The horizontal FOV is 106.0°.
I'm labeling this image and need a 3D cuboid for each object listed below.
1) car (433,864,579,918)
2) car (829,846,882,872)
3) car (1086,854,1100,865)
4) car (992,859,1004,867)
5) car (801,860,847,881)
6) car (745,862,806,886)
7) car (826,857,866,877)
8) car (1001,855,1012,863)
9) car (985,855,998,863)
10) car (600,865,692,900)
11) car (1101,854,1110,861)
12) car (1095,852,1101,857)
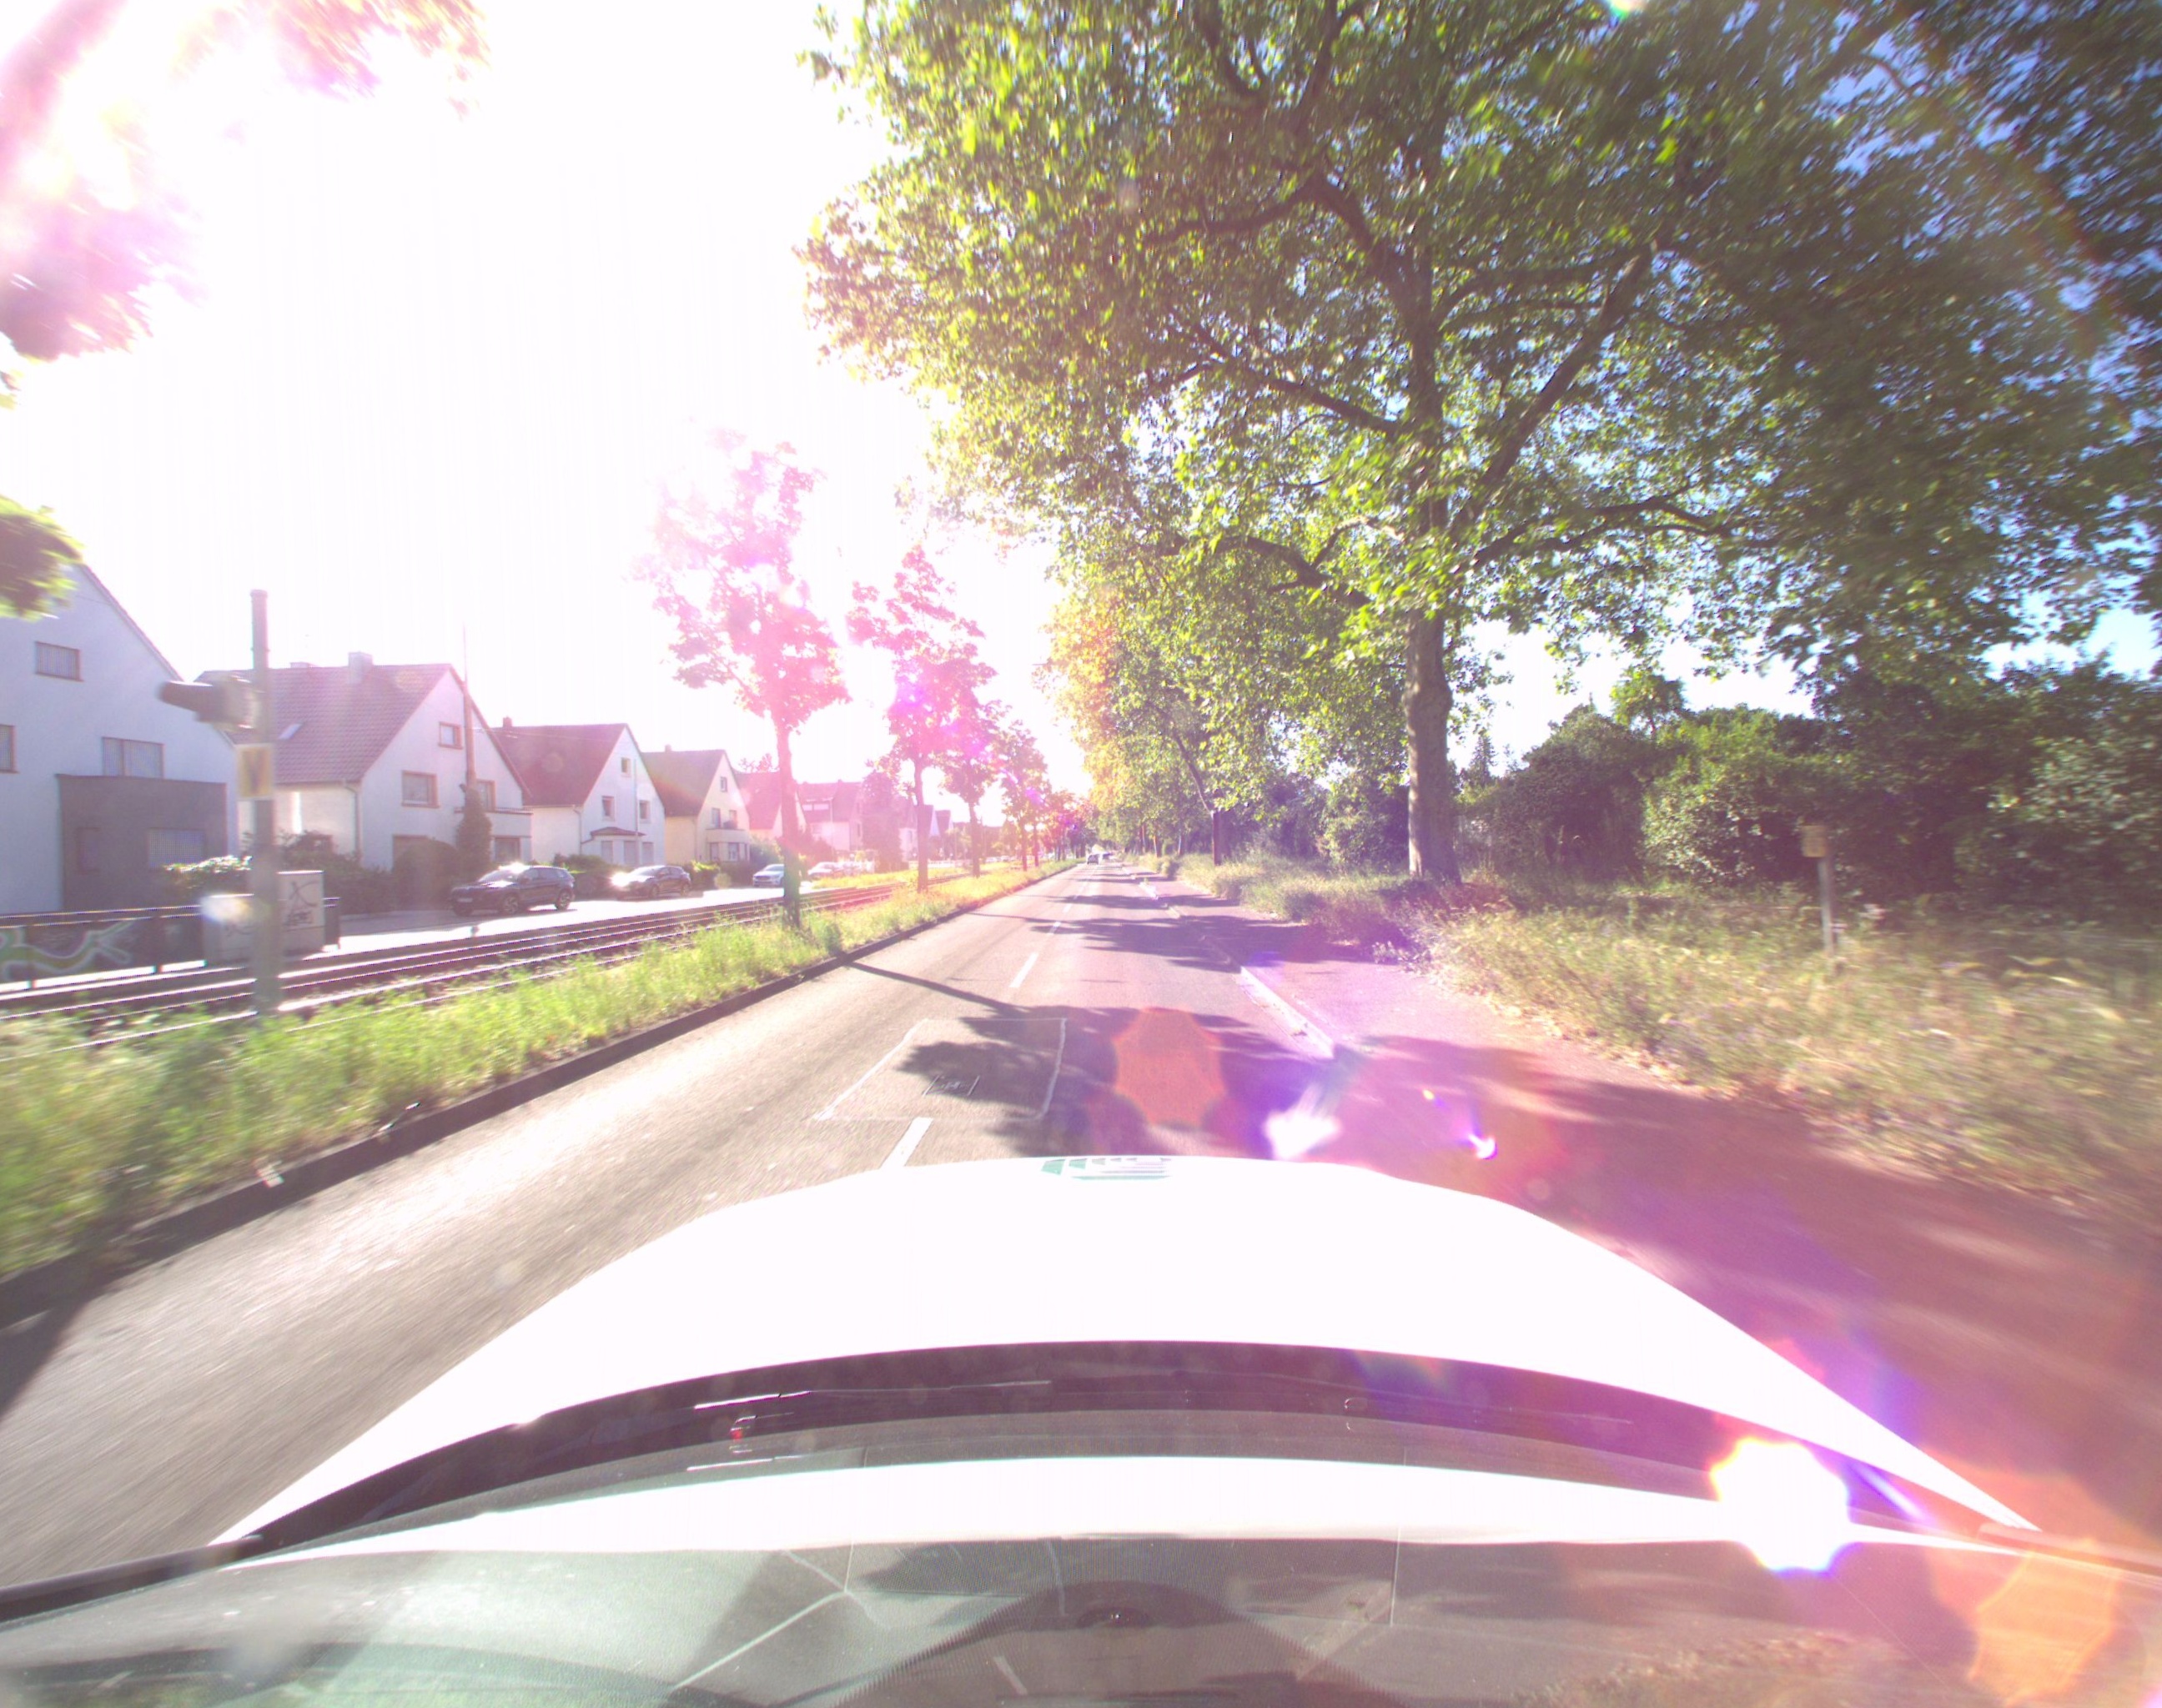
[{"bbox_3d":[-20.370,1.258,29.125,1.986,1.713,4.392,-1,0,2],"label":"car"},{"bbox_3d":[-24.099,0.512,87.100,5.010,2.625,2.103,-2,1,1],"label":"car"},{"bbox_3d":[1.705,0.751,115.676,1.853,1.601,4.229,-1,0,1],"label":"car"},{"bbox_3d":[-16.102,1.680,158.692,1.723,1.466,4.604,-1,0,1],"label":"car"},{"bbox_3d":[-19.244,1.238,61.127,1.986,1.450,4.129,1,0,2],"label":"car"},{"bbox_3d":[-19.553,1.236,52.349,1.985,1.426,4.414,-1,0,3],"label":"car"},{"bbox_3d":[-18.990,1.035,66.050,1.939,1.553,4.058,-1,0,2],"label":"car"},{"bbox_3d":[-15.633,1.078,170.088,1.741,1.650,4.556,-1,0,1],"label":"car"},{"bbox_3d":[-16.476,0.916,149.833,1.853,1.542,4.229,-1,0,1],"label":"car"},{"bbox_3d":[-20.261,1.288,38.139,1.919,1.495,4.257,-1,0,2],"label":"car"},{"bbox_3d":[5.650,0.752,189.392,1.986,1.603,4.474,-1,0,1],"label":"car"},{"bbox_3d":[5.361,0.110,261.231,1.986,1.603,4.474,-1,0,1],"label":"car"}]
